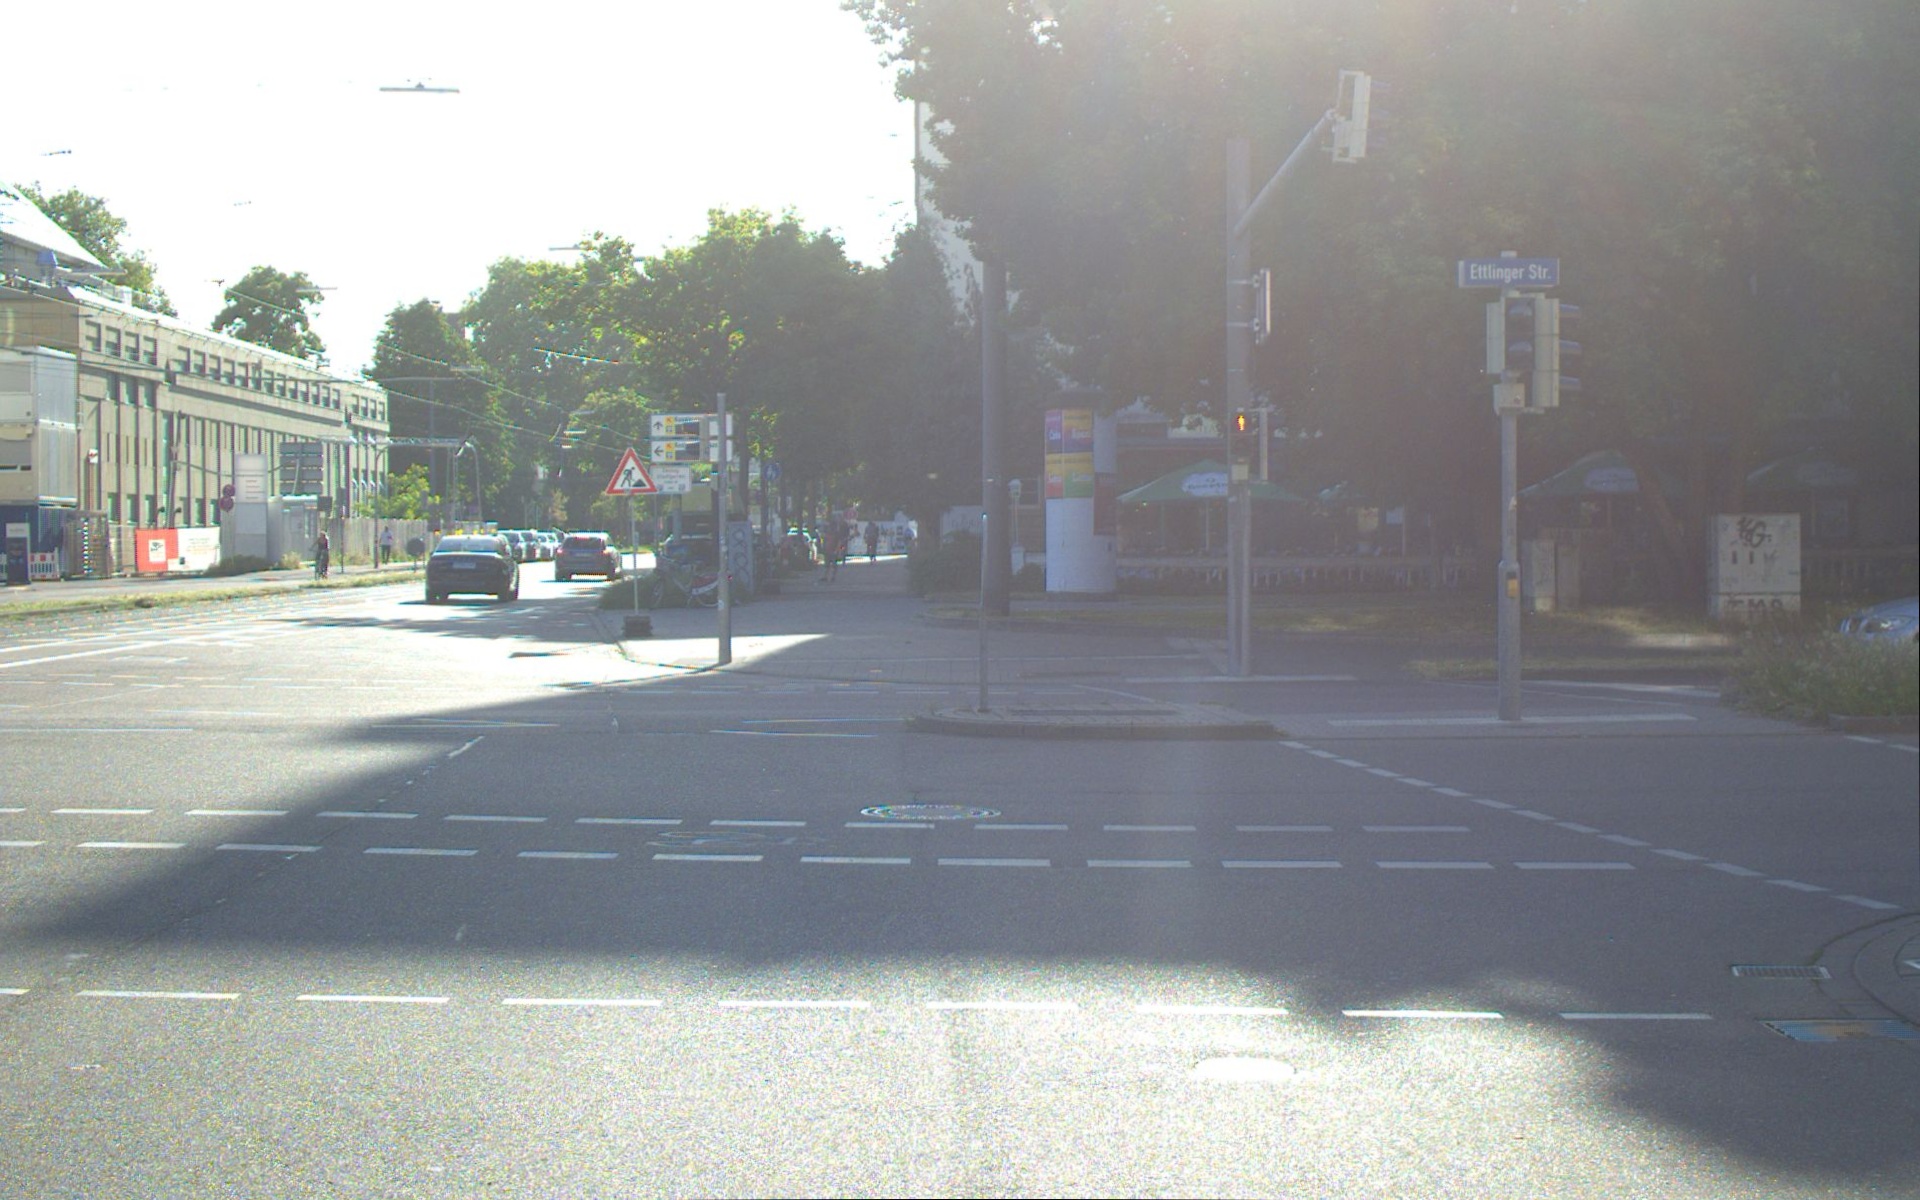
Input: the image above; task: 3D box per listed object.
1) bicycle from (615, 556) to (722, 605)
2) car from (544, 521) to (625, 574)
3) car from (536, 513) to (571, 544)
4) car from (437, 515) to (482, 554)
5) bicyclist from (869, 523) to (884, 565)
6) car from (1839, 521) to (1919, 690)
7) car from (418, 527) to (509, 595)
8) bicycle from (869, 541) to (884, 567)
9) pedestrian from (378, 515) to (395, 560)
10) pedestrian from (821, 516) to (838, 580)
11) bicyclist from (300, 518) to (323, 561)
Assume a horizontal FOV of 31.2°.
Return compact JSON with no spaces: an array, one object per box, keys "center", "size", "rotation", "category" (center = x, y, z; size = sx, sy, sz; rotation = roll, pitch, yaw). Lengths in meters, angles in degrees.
[{"center":[-5.728,-0.387,67.486],"size":[2.018,0.888,0.650],"rotation":[-2,0,27],"category":"bicycle"},{"center":[-11.763,-1.669,107.864],"size":[1.892,1.560,4.808],"rotation":[3,1,1],"category":"car"},{"center":[-23.018,-4.040,194.696],"size":[1.692,1.712,4.248],"rotation":[1,1,-4],"category":"car"},{"center":[-22.777,-2.974,156.450],"size":[1.692,1.712,4.248],"rotation":[1,1,-4],"category":"car"},{"center":[-3.392,-2.282,139.438],"size":[0.569,1.685,0.700],"rotation":[0,1,-1],"category":"bicyclist"},{"center":[10.759,0.020,33.418],"size":[3.993,1.605,1.650],"rotation":[-1,1,-1],"category":"car"},{"center":[-10.979,-0.878,76.216],"size":[1.660,1.450,4.433],"rotation":[1,1,-4],"category":"car"},{"center":[-3.393,-1.866,139.435],"size":[0.575,1.073,1.831],"rotation":[0,1,-1],"category":"bicycle"},{"center":[-25.713,-2.792,154.120],"size":[0.674,2.007,0.751],"rotation":[1,0,-3],"category":"pedestrian"},{"center":[-3.711,-1.466,97.629],"size":[0.463,1.807,0.503],"rotation":[0,1,-5],"category":"pedestrian"},{"center":[-20.591,-1.920,109.179],"size":[0.596,1.372,0.638],"rotation":[1,0,-2],"category":"bicyclist"}]
